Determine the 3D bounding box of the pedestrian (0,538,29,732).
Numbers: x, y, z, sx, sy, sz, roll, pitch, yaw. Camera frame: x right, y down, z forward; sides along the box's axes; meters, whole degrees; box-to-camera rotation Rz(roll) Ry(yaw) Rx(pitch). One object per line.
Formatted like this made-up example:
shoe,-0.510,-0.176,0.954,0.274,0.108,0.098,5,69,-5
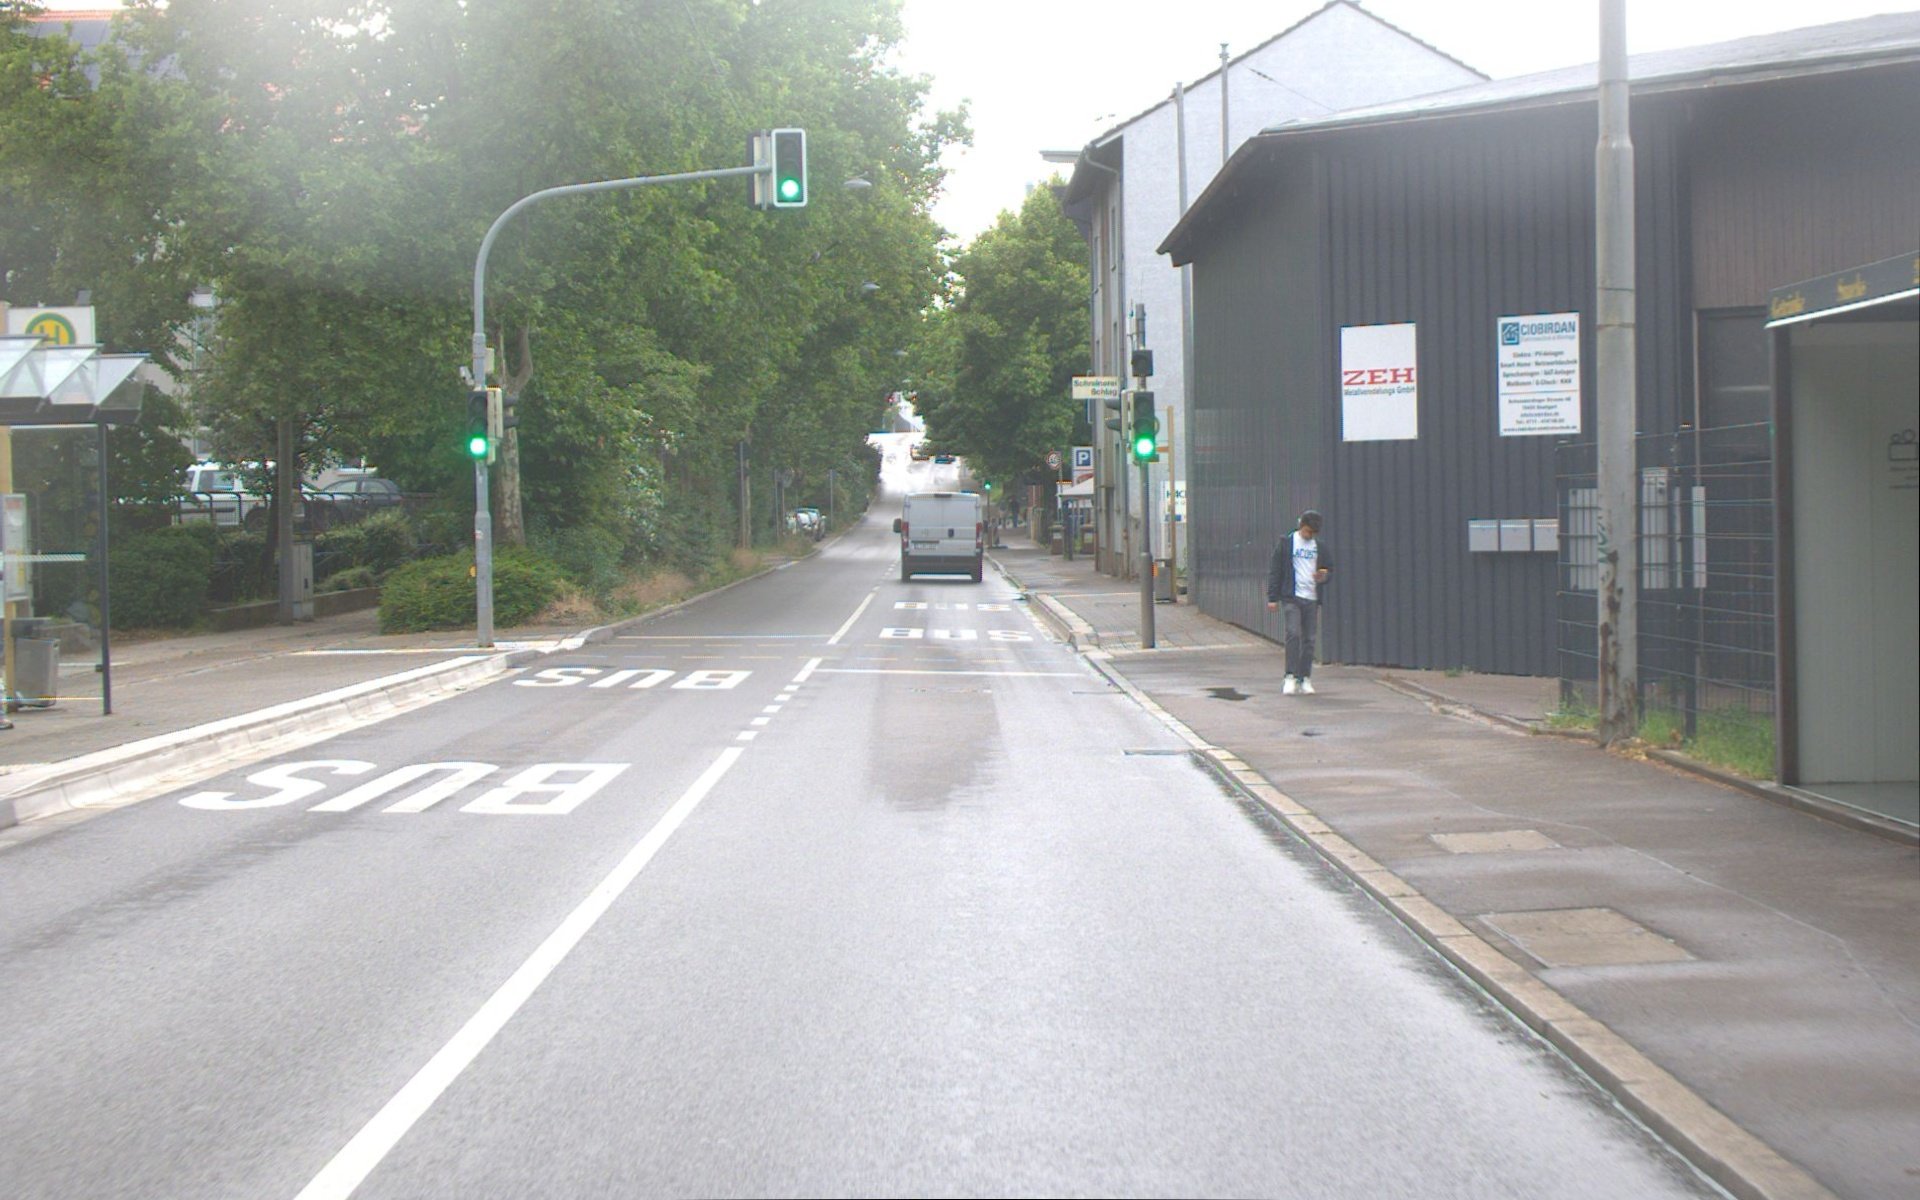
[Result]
pedestrian,-7.299,0.270,25.199,0.688,1.413,0.640,-3,-1,3

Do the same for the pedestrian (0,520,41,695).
pedestrian,-9.018,0.086,31.827,0.741,1.593,0.606,-4,-1,3

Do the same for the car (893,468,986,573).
car,-0.510,-1.973,87.029,2.282,2.544,4.000,0,0,0

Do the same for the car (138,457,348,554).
car,-15.337,-2.020,73.673,4.167,2.007,1.719,1,1,-3

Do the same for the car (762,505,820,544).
car,-7.549,-3.383,153.877,2.215,1.587,4.609,1,0,2

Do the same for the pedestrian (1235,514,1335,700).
pedestrian,3.041,0.063,32.206,0.742,1.698,0.902,1,0,-6
